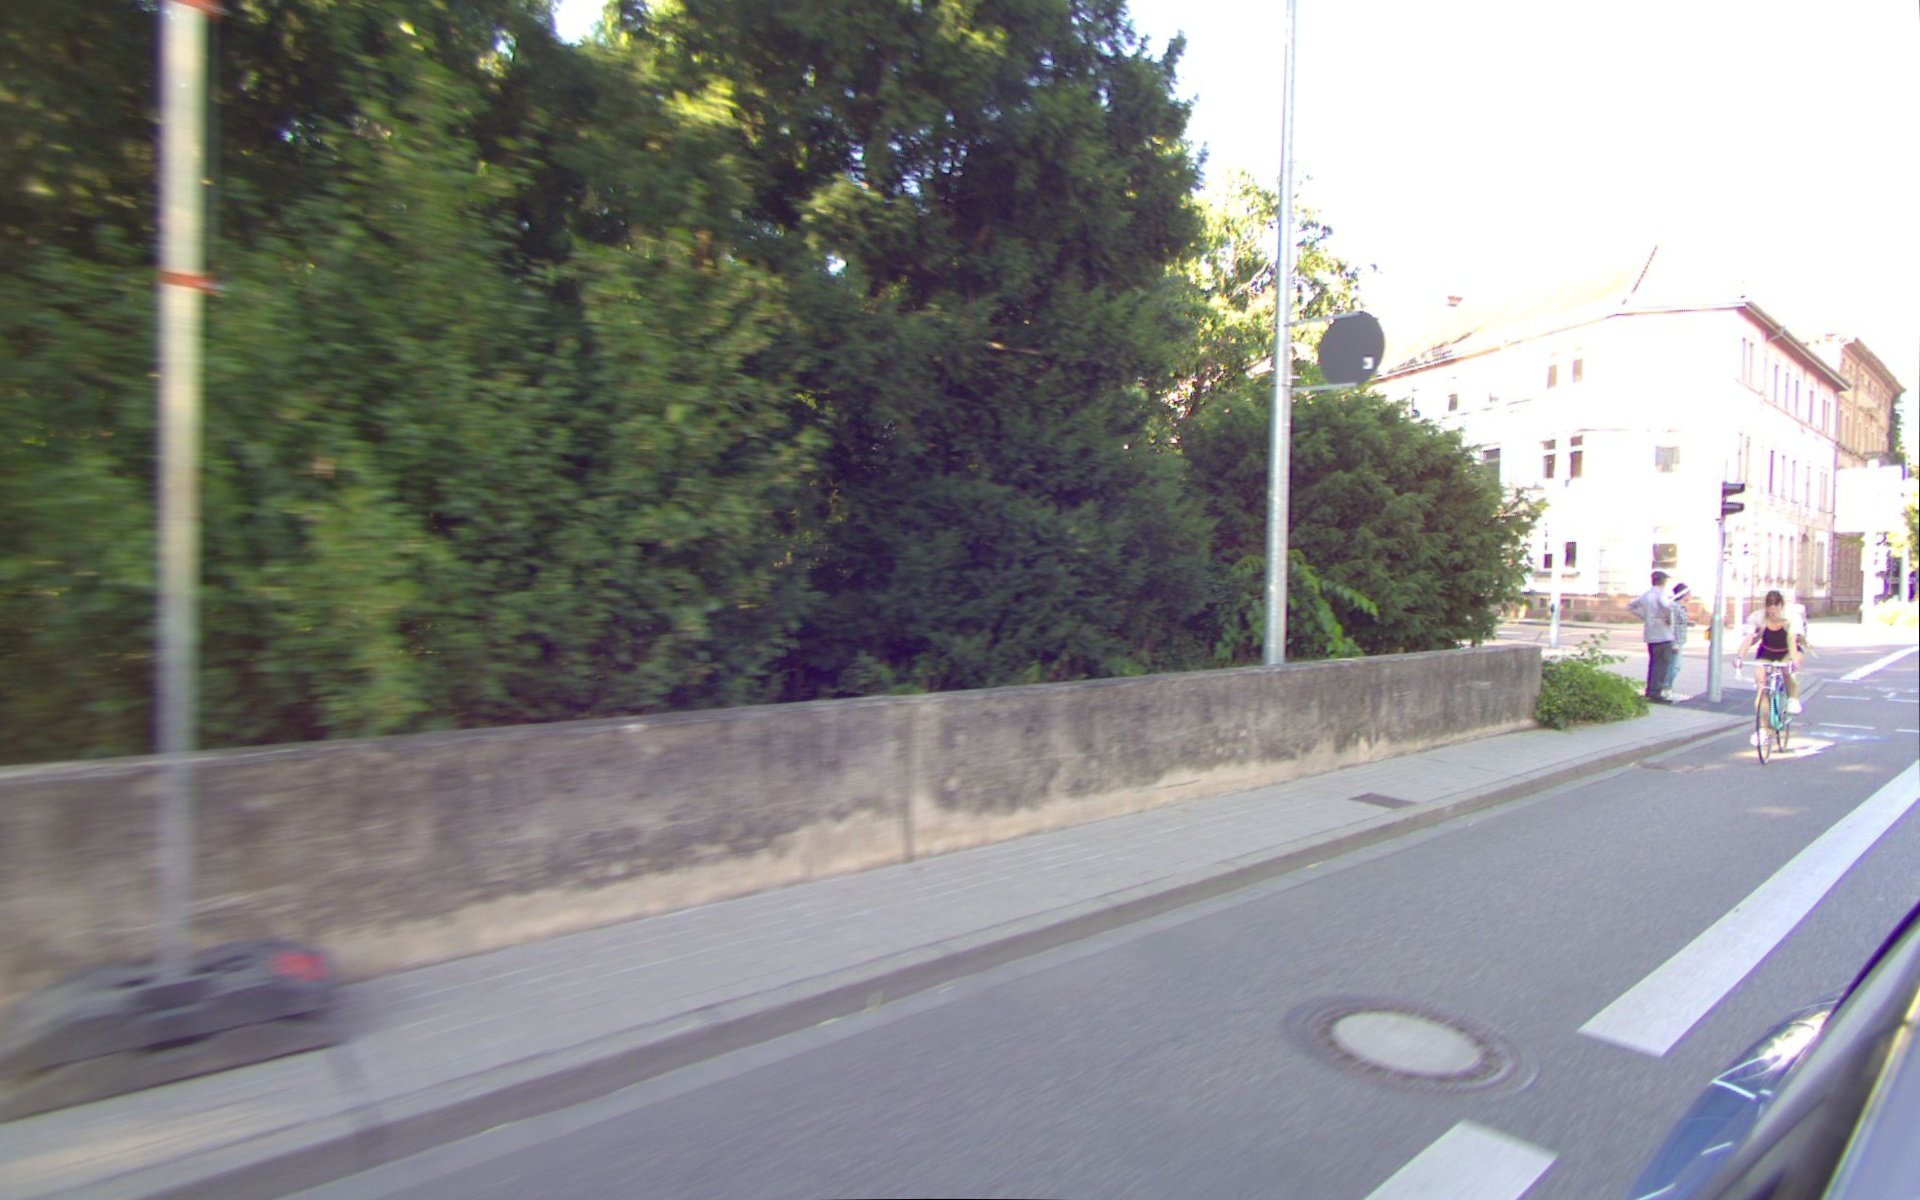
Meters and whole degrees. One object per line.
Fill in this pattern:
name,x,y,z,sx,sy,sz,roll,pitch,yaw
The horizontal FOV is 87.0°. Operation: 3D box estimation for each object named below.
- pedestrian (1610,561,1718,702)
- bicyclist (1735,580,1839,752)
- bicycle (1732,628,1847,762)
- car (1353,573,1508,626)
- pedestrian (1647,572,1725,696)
pedestrian,9.606,0.398,13.854,0.847,1.824,0.903,3,2,15
bicyclist,7.762,0.576,9.491,1.062,1.509,0.553,0,1,-41
bicycle,7.869,0.849,9.572,1.810,1.111,0.521,0,-1,-41
car,14.730,-0.081,32.000,1.863,1.492,4.613,0,2,-16
pedestrian,10.249,0.457,14.289,0.765,1.656,0.759,4,3,40
